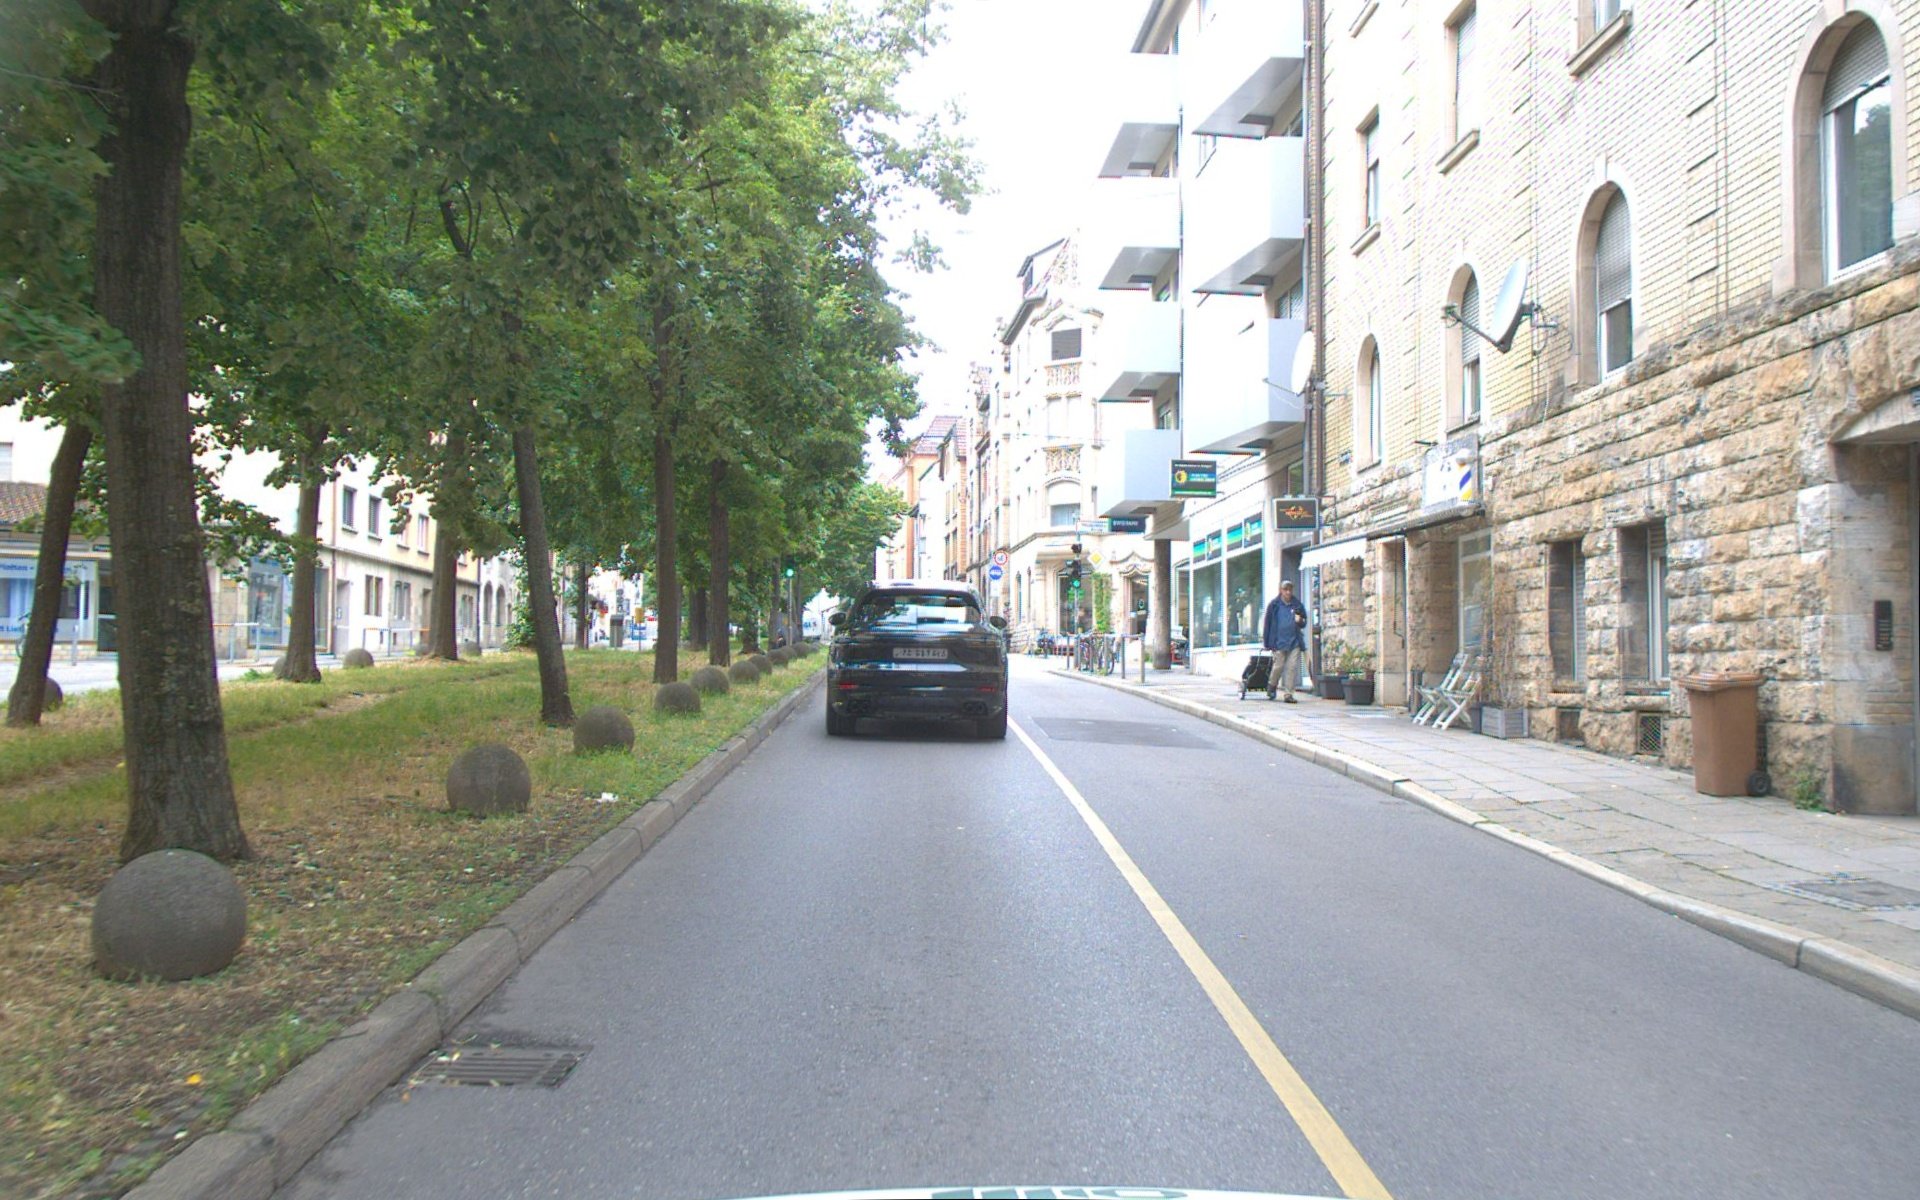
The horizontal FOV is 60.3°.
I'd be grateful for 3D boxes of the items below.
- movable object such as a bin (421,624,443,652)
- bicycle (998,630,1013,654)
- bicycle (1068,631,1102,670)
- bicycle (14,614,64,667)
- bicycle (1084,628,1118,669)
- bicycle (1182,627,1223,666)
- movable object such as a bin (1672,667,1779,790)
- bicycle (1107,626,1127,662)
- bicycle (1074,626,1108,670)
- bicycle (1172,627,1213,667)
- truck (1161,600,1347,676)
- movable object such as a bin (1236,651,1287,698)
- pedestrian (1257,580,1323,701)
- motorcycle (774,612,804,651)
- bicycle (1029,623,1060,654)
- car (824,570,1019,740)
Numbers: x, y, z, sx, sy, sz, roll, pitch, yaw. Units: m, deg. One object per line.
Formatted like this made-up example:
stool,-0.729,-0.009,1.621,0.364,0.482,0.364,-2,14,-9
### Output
movable object such as a bin,-20.807,1.507,65.210,0.678,1.078,0.689,1,-2,-8
bicycle,2.056,1.923,75.187,0.438,1.055,2.246,0,-2,-4
bicycle,3.152,1.262,41.700,0.281,0.948,1.753,2,-2,-15
bicycle,-20.411,0.898,36.683,0.752,1.104,2.021,2,-2,-24
bicycle,3.322,1.145,39.013,0.557,0.948,1.774,1,-2,-3
bicycle,6.656,1.272,45.444,0.313,1.061,1.750,2,-2,-20
movable object such as a bin,5.915,0.994,12.796,0.582,0.920,0.502,1,-4,-1
bicycle,5.889,1.642,62.167,0.438,1.181,1.833,0,4,-4
bicycle,3.317,1.212,42.028,0.281,1.073,1.753,2,-2,-15
bicycle,6.355,1.278,45.322,0.313,1.061,1.750,2,-2,-20
truck,9.586,1.236,54.051,5.463,2.170,2.374,3,-1,-13
movable object such as a bin,4.602,1.131,25.259,0.595,0.680,0.858,-1,-2,-1
pedestrian,4.863,0.599,24.415,0.736,1.722,0.858,-1,-2,-1
motorcycle,-6.649,1.236,64.486,0.999,1.472,2.245,-1,-2,-3
bicycle,3.260,1.508,64.088,0.861,1.149,2.977,1,-2,-3
car,-0.424,0.574,18.817,1.953,1.695,3.999,1,0,-1
